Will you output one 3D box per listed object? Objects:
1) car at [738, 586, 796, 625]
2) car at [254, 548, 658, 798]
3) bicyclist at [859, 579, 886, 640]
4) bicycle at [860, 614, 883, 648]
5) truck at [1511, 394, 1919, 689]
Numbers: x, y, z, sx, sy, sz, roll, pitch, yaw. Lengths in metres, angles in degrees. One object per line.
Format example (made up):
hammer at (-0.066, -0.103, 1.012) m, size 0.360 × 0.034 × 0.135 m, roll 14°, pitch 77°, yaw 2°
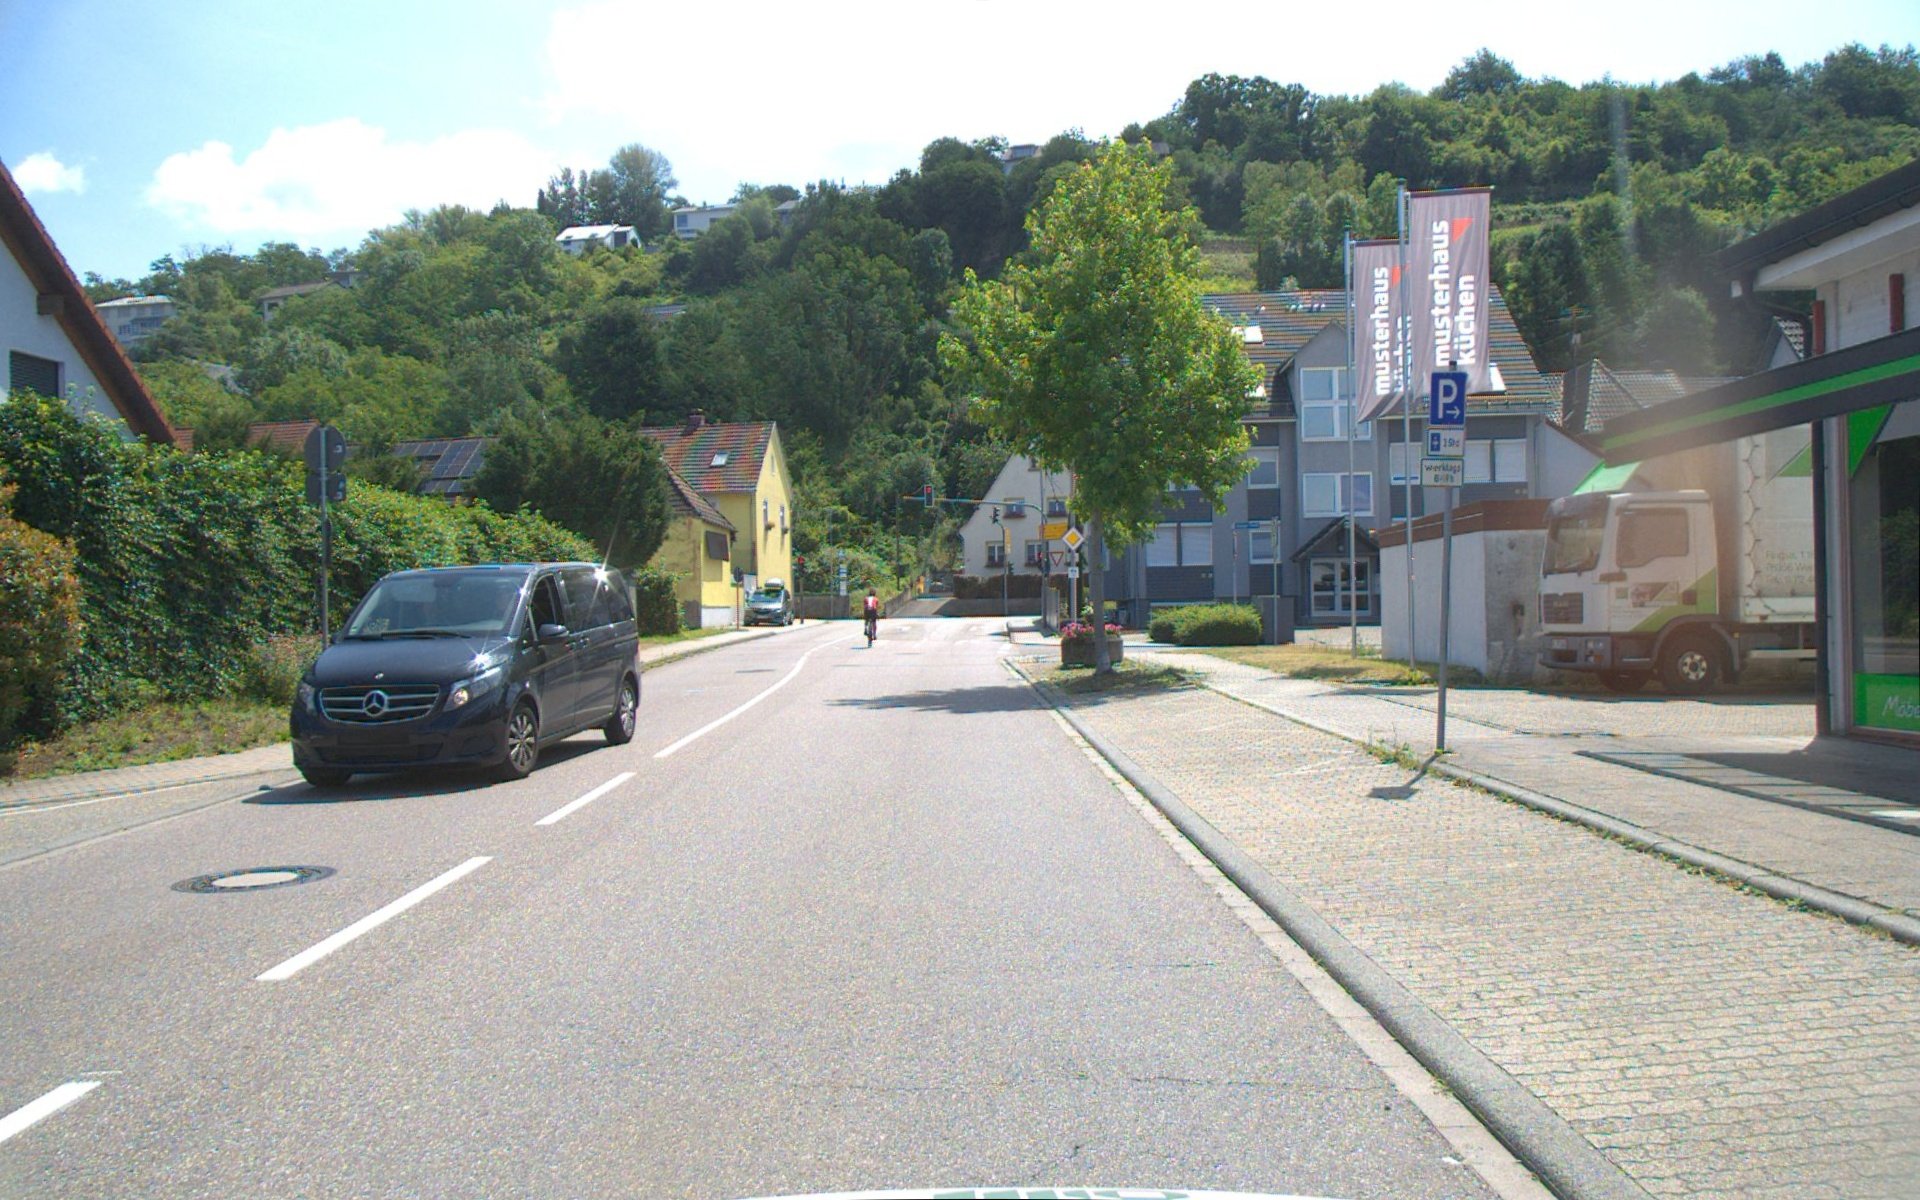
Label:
car at (-8.607, 0.223, 74.228) m, size 1.952 × 1.664 × 4.631 m, roll 0°, pitch 0°, yaw 1°
car at (-4.444, 0.571, 15.587) m, size 1.952 × 1.884 × 5.071 m, roll -2°, pitch 0°, yaw 3°
bicyclist at (-2.433, 0.258, 46.105) m, size 0.745 × 1.693 × 0.868 m, roll 0°, pitch 0°, yaw -3°
bicycle at (-2.463, 0.850, 46.152) m, size 0.617 × 0.920 × 1.656 m, roll 0°, pitch 0°, yaw -3°
truck at (11.763, -0.731, 21.918) m, size 8.005 × 3.635 × 2.677 m, roll -1°, pitch -1°, yaw -2°
